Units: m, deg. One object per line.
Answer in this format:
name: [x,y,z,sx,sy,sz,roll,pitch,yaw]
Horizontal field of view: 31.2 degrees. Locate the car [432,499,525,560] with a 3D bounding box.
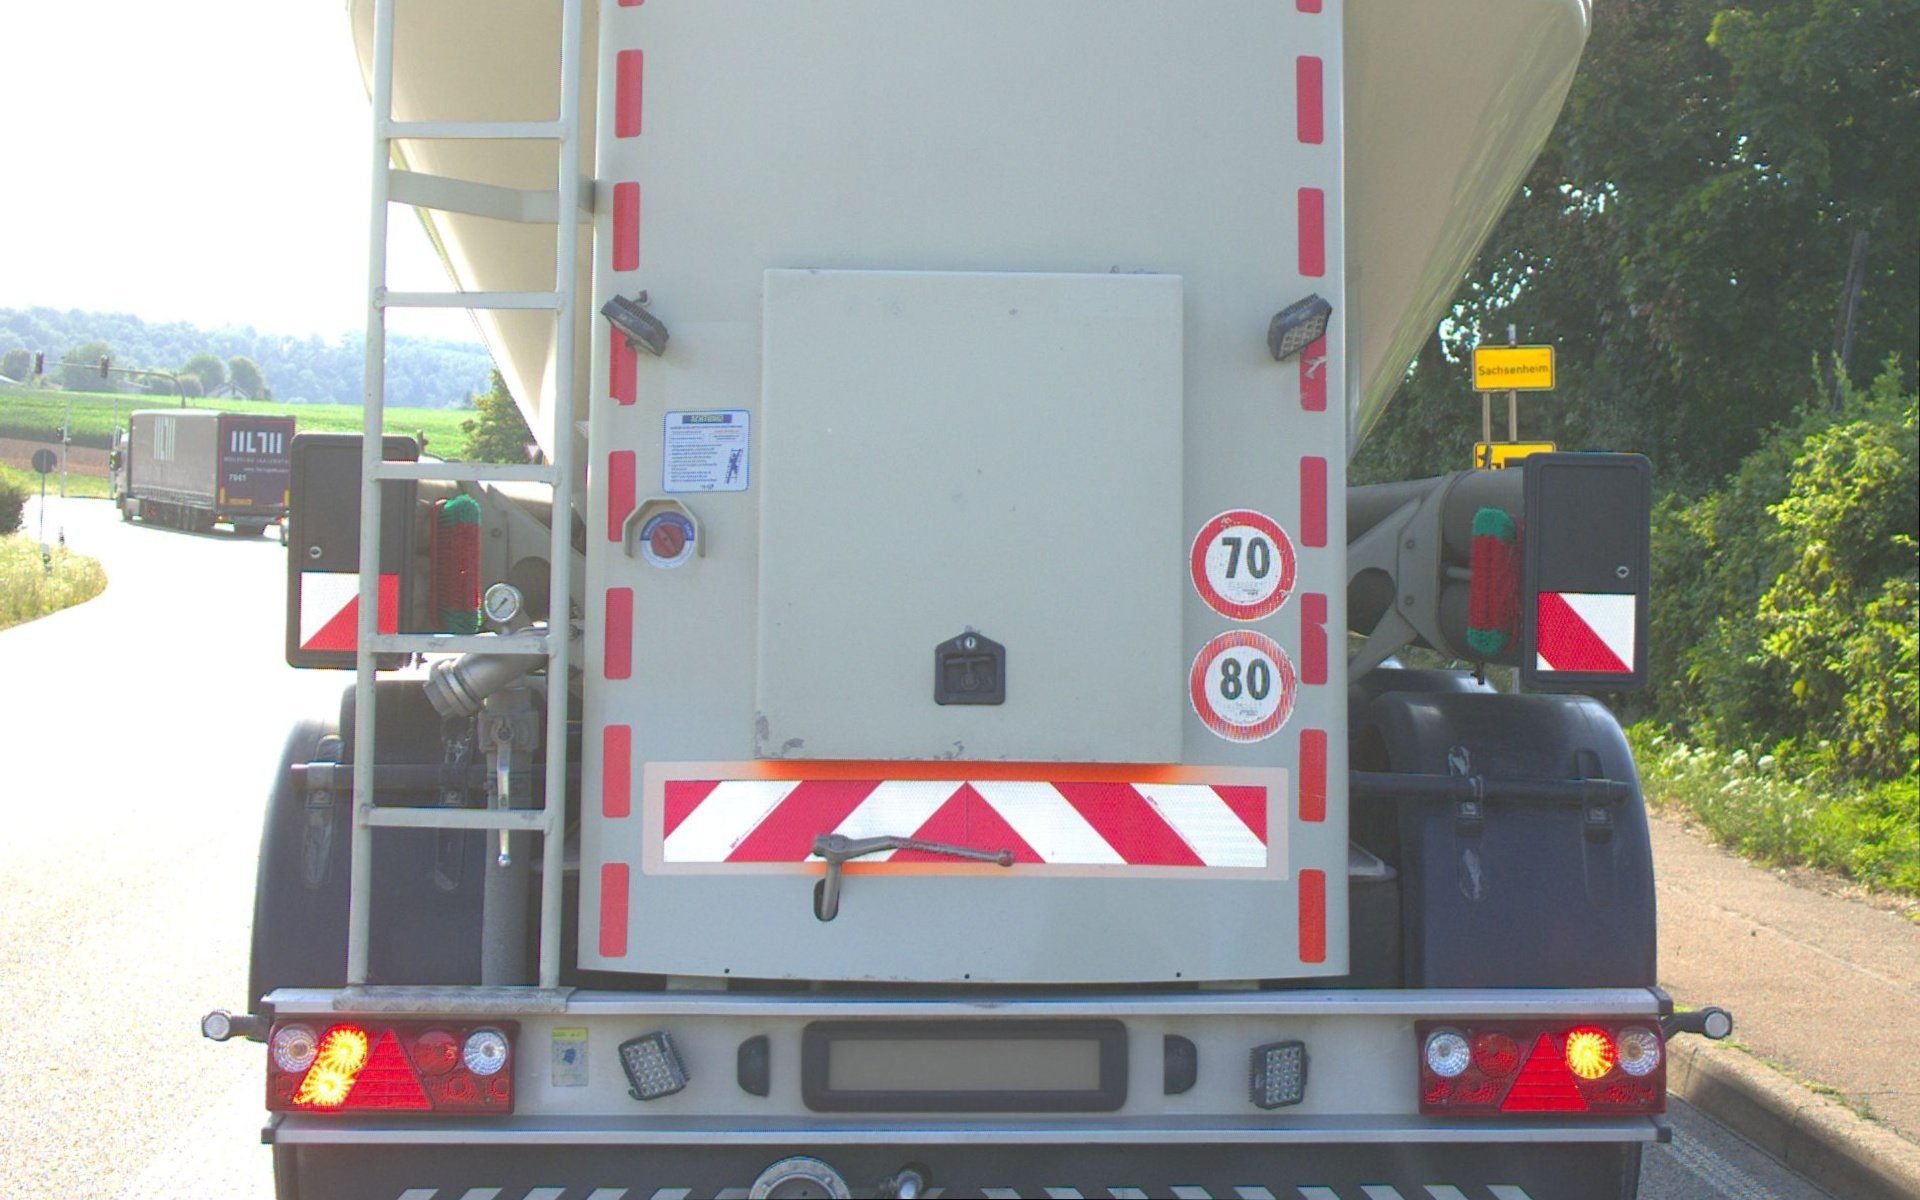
car: [-11.440,-1.685,81.515,1.580,1.336,3.427,2,1,-18]

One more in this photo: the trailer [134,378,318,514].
trailer: [-25.682,-5.285,119.525,3.375,4.335,14.297,2,1,-24]

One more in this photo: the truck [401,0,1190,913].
truck: [-0.784,-0.864,14.878,2.909,3.992,4.060,1,1,-5]

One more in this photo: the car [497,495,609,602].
car: [-7.982,-1.026,67.167,1.861,2.007,3.720,1,1,-11]

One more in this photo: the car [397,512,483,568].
car: [-13.290,-1.534,87.745,1.580,1.336,3.427,2,1,-18]

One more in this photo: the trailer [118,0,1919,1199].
trailer: [-0.351,-0.738,10.437,2.909,3.992,9.932,1,1,-6]

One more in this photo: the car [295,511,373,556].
car: [-18.615,-1.987,102.128,1.769,1.201,3.427,-4,3,-18]

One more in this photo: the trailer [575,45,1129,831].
trailer: [-0.662,-1.050,26.349,2.955,4.300,14.176,2,1,0]

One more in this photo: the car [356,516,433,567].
car: [-15.788,-1.648,95.896,1.580,1.336,3.427,2,1,-18]

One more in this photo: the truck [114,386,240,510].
truck: [-28.946,-5.590,126.930,3.375,4.335,5.707,2,1,-24]
